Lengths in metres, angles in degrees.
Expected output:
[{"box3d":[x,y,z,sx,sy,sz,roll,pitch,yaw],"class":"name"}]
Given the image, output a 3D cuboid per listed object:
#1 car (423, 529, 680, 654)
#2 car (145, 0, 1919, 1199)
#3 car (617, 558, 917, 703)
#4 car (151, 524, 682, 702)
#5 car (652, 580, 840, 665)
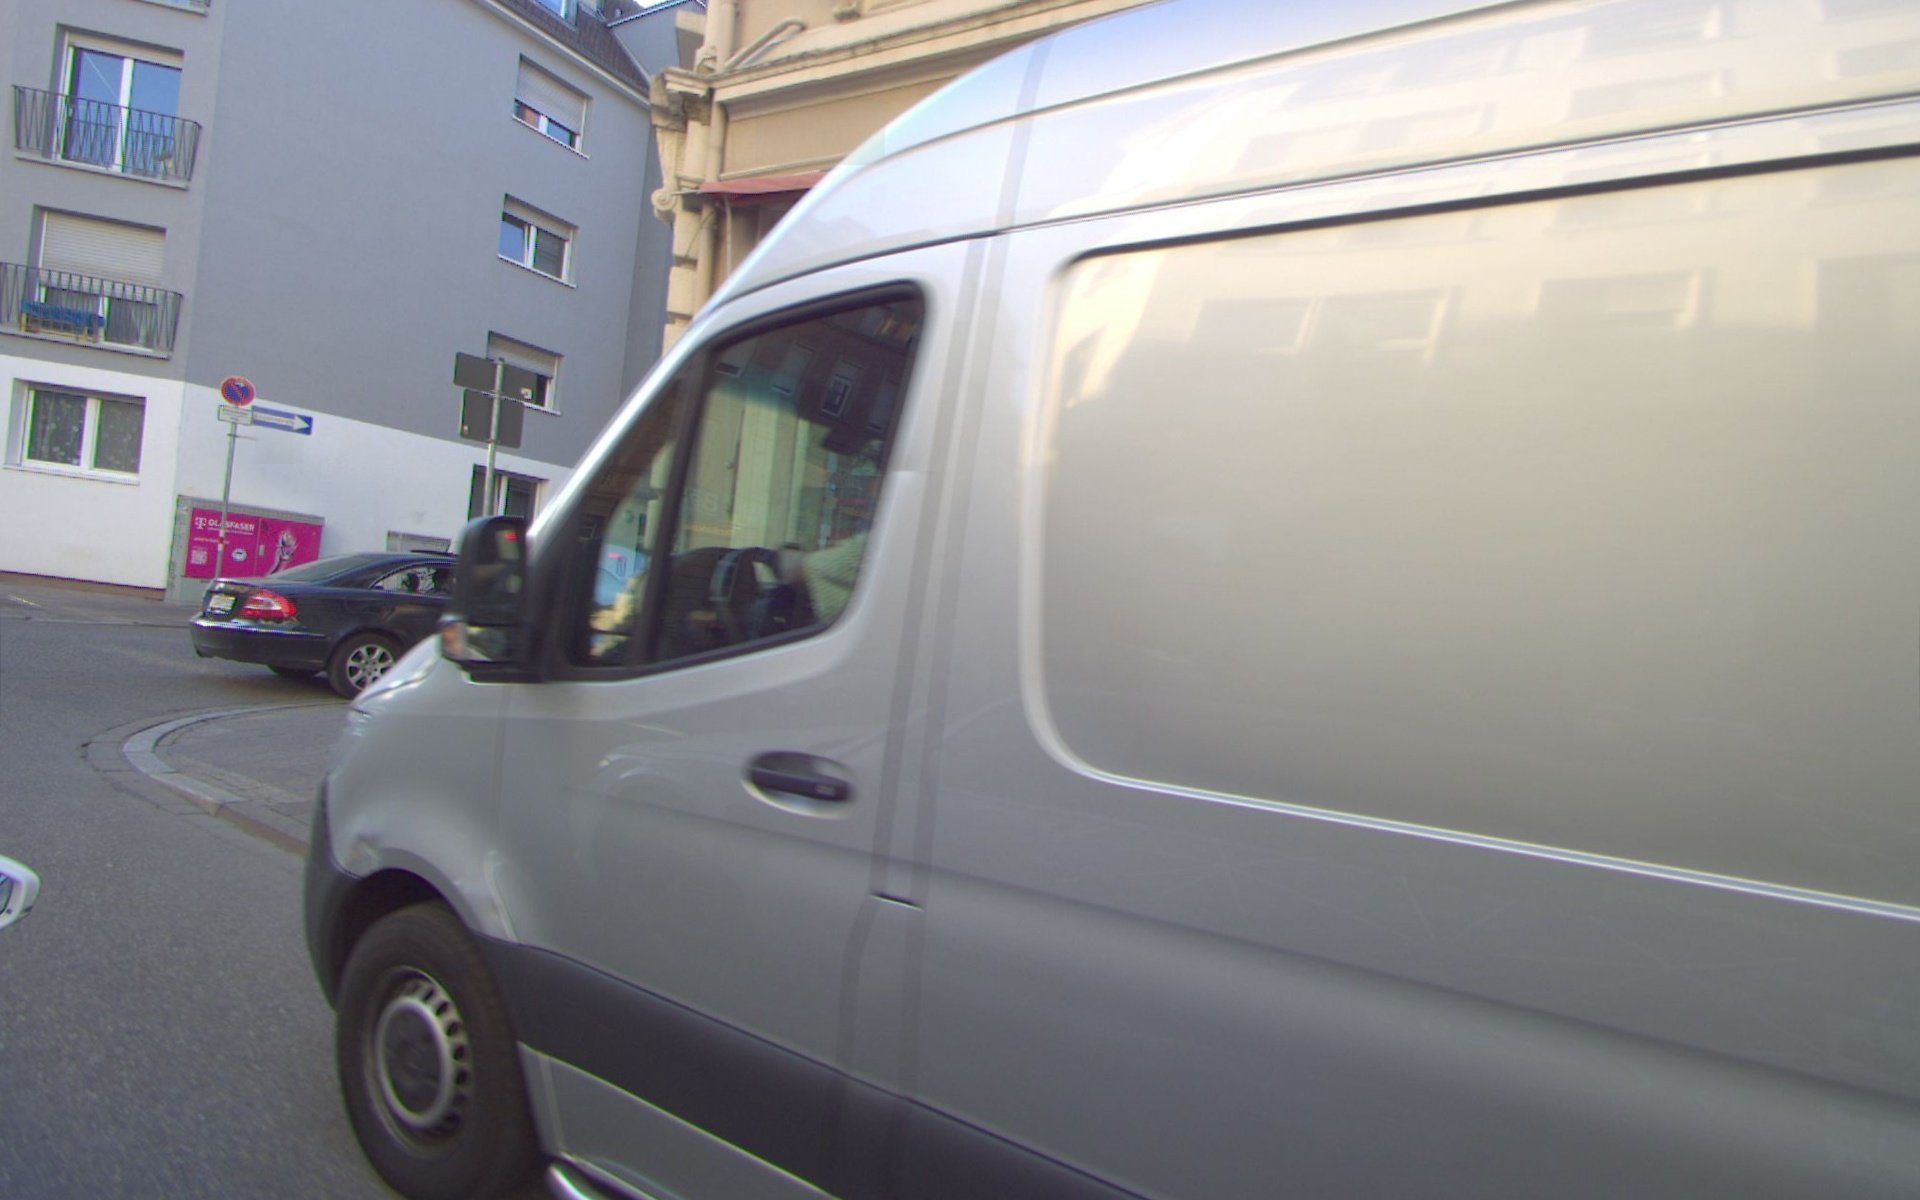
[{"box3d":[-7.446,-0.071,18.779,1.609,1.835,4.178,7,-1,31],"class":"car"},{"box3d":[0.932,0.323,2.172,6.103,2.469,2.279,7,0,33],"class":"car"},{"box3d":[-2.726,0.556,15.313,1.793,1.744,4.452,7,-1,32],"class":"car"},{"box3d":[-5.585,0.266,11.020,1.860,1.425,4.717,7,-1,35],"class":"car"},{"box3d":[-4.782,0.578,23.149,1.738,1.583,4.360,6,0,28],"class":"car"}]
